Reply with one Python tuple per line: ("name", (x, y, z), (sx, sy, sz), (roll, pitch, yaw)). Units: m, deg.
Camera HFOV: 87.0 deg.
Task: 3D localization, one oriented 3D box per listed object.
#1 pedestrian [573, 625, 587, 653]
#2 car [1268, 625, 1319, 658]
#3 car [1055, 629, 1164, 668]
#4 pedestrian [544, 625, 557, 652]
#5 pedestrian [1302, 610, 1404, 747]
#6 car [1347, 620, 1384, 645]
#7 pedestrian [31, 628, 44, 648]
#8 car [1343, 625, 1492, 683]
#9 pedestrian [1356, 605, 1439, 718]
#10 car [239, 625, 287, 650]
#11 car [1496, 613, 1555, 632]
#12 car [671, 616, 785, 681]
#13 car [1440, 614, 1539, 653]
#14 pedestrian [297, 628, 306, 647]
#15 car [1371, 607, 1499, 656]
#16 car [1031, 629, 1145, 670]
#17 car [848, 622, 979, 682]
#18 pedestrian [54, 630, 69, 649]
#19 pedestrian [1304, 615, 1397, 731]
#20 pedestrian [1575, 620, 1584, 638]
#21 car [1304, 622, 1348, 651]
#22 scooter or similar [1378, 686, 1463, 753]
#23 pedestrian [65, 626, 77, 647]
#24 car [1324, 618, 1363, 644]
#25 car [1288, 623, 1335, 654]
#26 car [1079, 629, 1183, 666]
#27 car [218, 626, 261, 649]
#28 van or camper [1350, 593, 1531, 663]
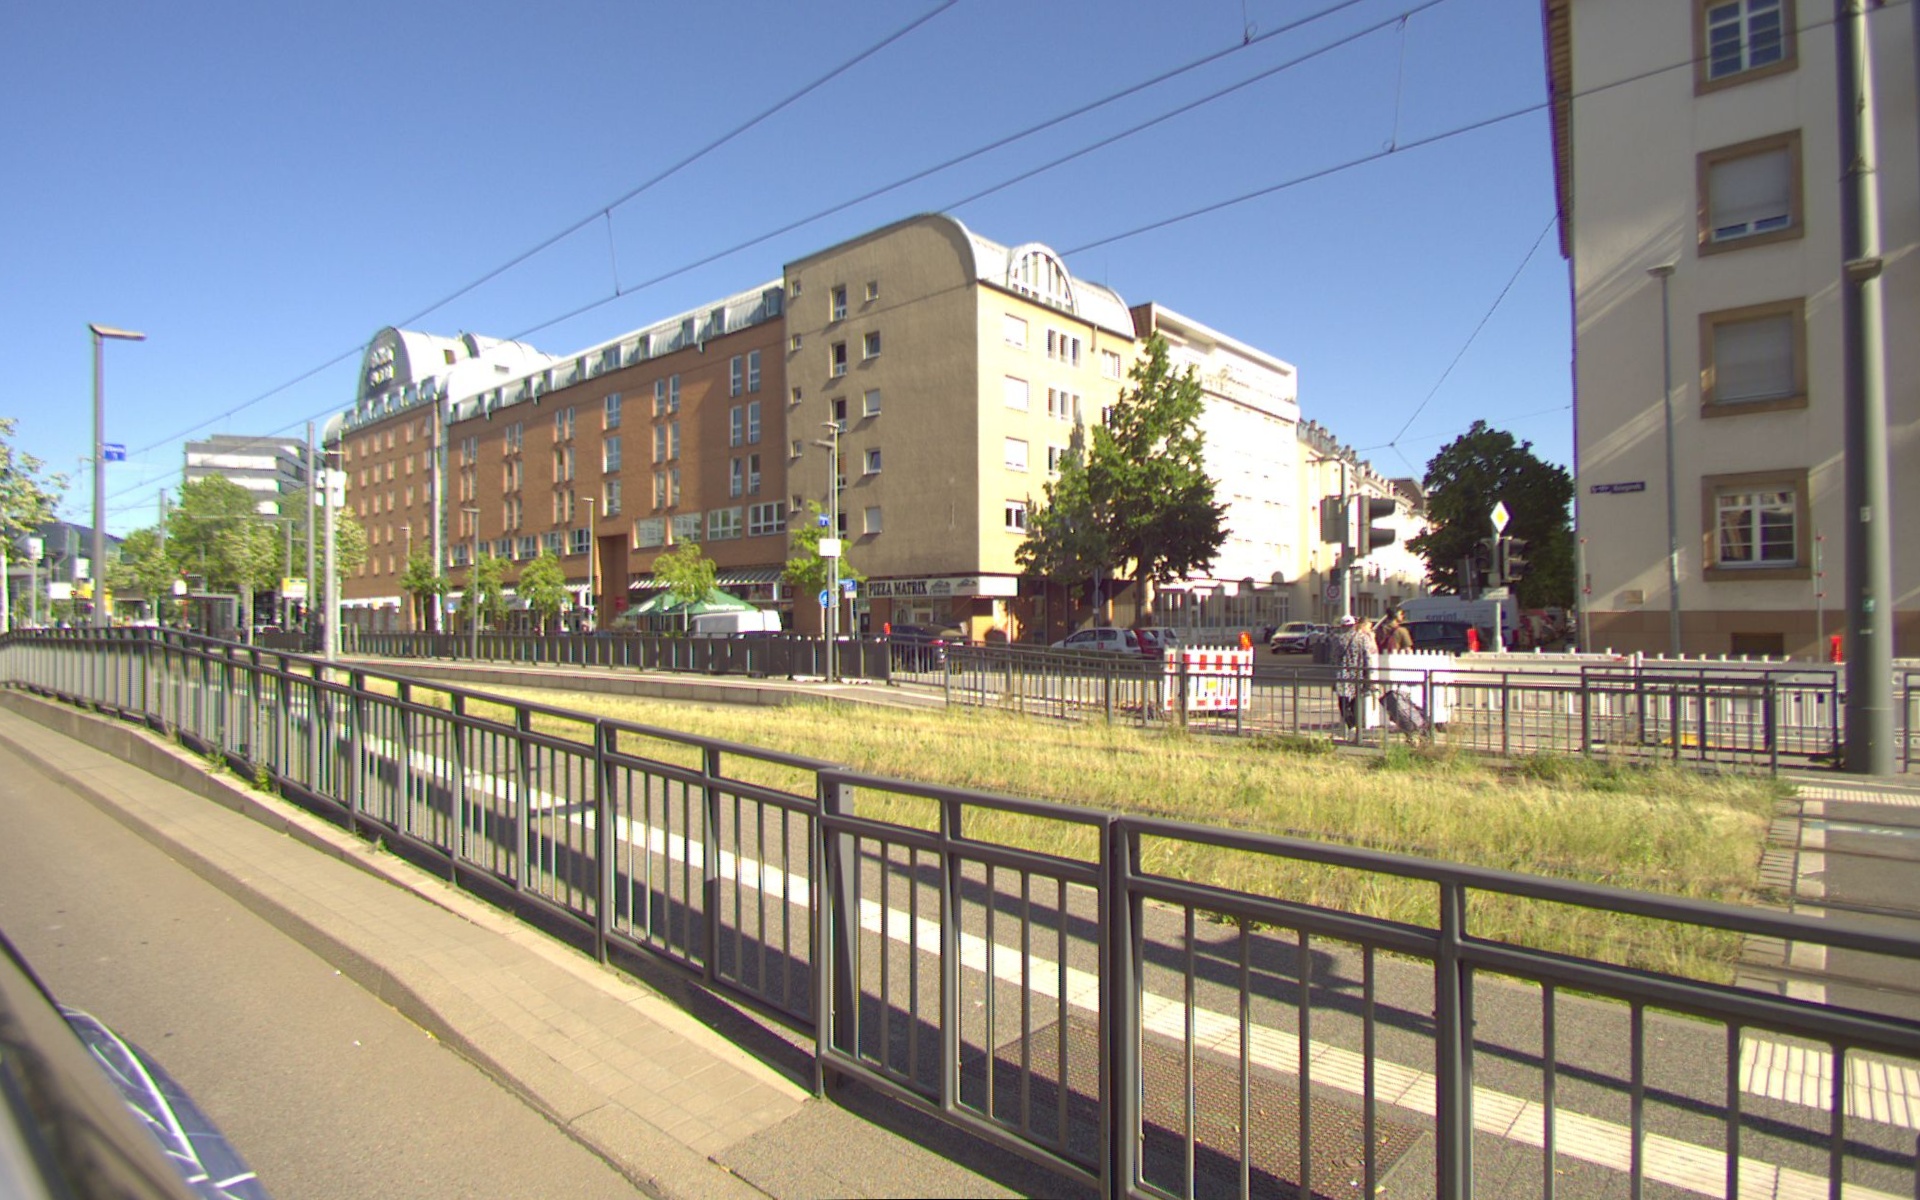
("pedestrian", (-24.842, 2.536, 66.180), (0.644, 1.854, 0.614), (-2, -2, 41))
("car", (17.758, 2.151, 53.782), (1.947, 1.674, 3.962), (-1, -2, 28))
("car", (5.967, 1.916, 40.487), (3.980, 1.462, 1.768), (-1, -2, 28))
("pedestrian", (-28.245, 2.638, 69.836), (0.644, 1.854, 0.614), (-2, -2, 39))
("pedestrian", (4.681, 0.902, 12.062), (0.785, 1.548, 0.817), (-1, -1, -38))
("car", (28.183, 2.260, 70.277), (1.947, 1.674, 3.962), (-1, -2, 28))
("pedestrian", (-71.777, 2.964, 78.733), (0.599, 1.581, 0.730), (0, -2, -29))
("car", (12.954, 1.493, 28.717), (3.662, 1.533, 1.673), (-1, -2, 32))
("pedestrian", (7.251, 0.988, 16.777), (0.853, 1.794, 0.911), (-1, -1, -34))
("car", (-51.130, 2.737, 74.200), (3.998, 1.696, 1.973), (-1, 0, 41))
("car", (44.231, 1.781, 79.193), (3.853, 1.472, 1.740), (-1, -2, 24))
("car", (-9.315, 1.863, 40.219), (1.969, 2.388, 5.653), (0, -2, -41))
("car", (25.220, 1.579, 48.209), (3.990, 1.789, 1.722), (-1, -2, 35))
("pedestrian", (-63.192, 3.564, 97.050), (0.704, 1.769, 0.781), (0, -2, -33))
("car", (15.716, 1.034, 33.549), (3.654, 1.533, 1.673), (-1, -2, 32))
("car", (4.875, 1.870, 38.615), (3.980, 1.462, 1.768), (-1, -2, 28))
("car", (-1.503, 1.614, 32.047), (3.997, 1.773, 1.796), (-2, -2, 40))
("pedestrian", (-72.718, 3.198, 81.895), (0.601, 1.581, 0.728), (-1, -1, -4))
("pedestrian", (5.498, 0.997, 14.262), (0.855, 1.548, 0.910), (0, -1, -43))
("pedestrian", (63.286, 2.947, 103.430), (0.687, 1.768, 0.807), (-2, -2, 34))
("car", (22.234, 2.176, 61.425), (1.947, 1.674, 3.962), (-1, -2, 28))
("scooter or similar", (5.226, 1.343, 11.492), (0.507, 0.656, 0.710), (-1, -1, -38))
("pedestrian", (-71.124, 2.924, 80.966), (0.600, 1.581, 0.911), (-2, -1, -33))
("car", (25.087, 2.022, 66.142), (1.947, 1.674, 3.962), (-1, -2, 28))
("car", (20.068, 2.163, 57.658), (1.947, 1.674, 3.962), (-1, -2, 28))
("car", (7.179, 1.971, 42.575), (3.980, 1.462, 1.768), (-1, -2, 28))
("car", (-57.854, 2.950, 81.224), (3.998, 1.696, 1.973), (-1, 0, 41))
("van or camper", (17.778, 1.048, 37.591), (5.933, 2.419, 1.979), (-1, -2, 30))
